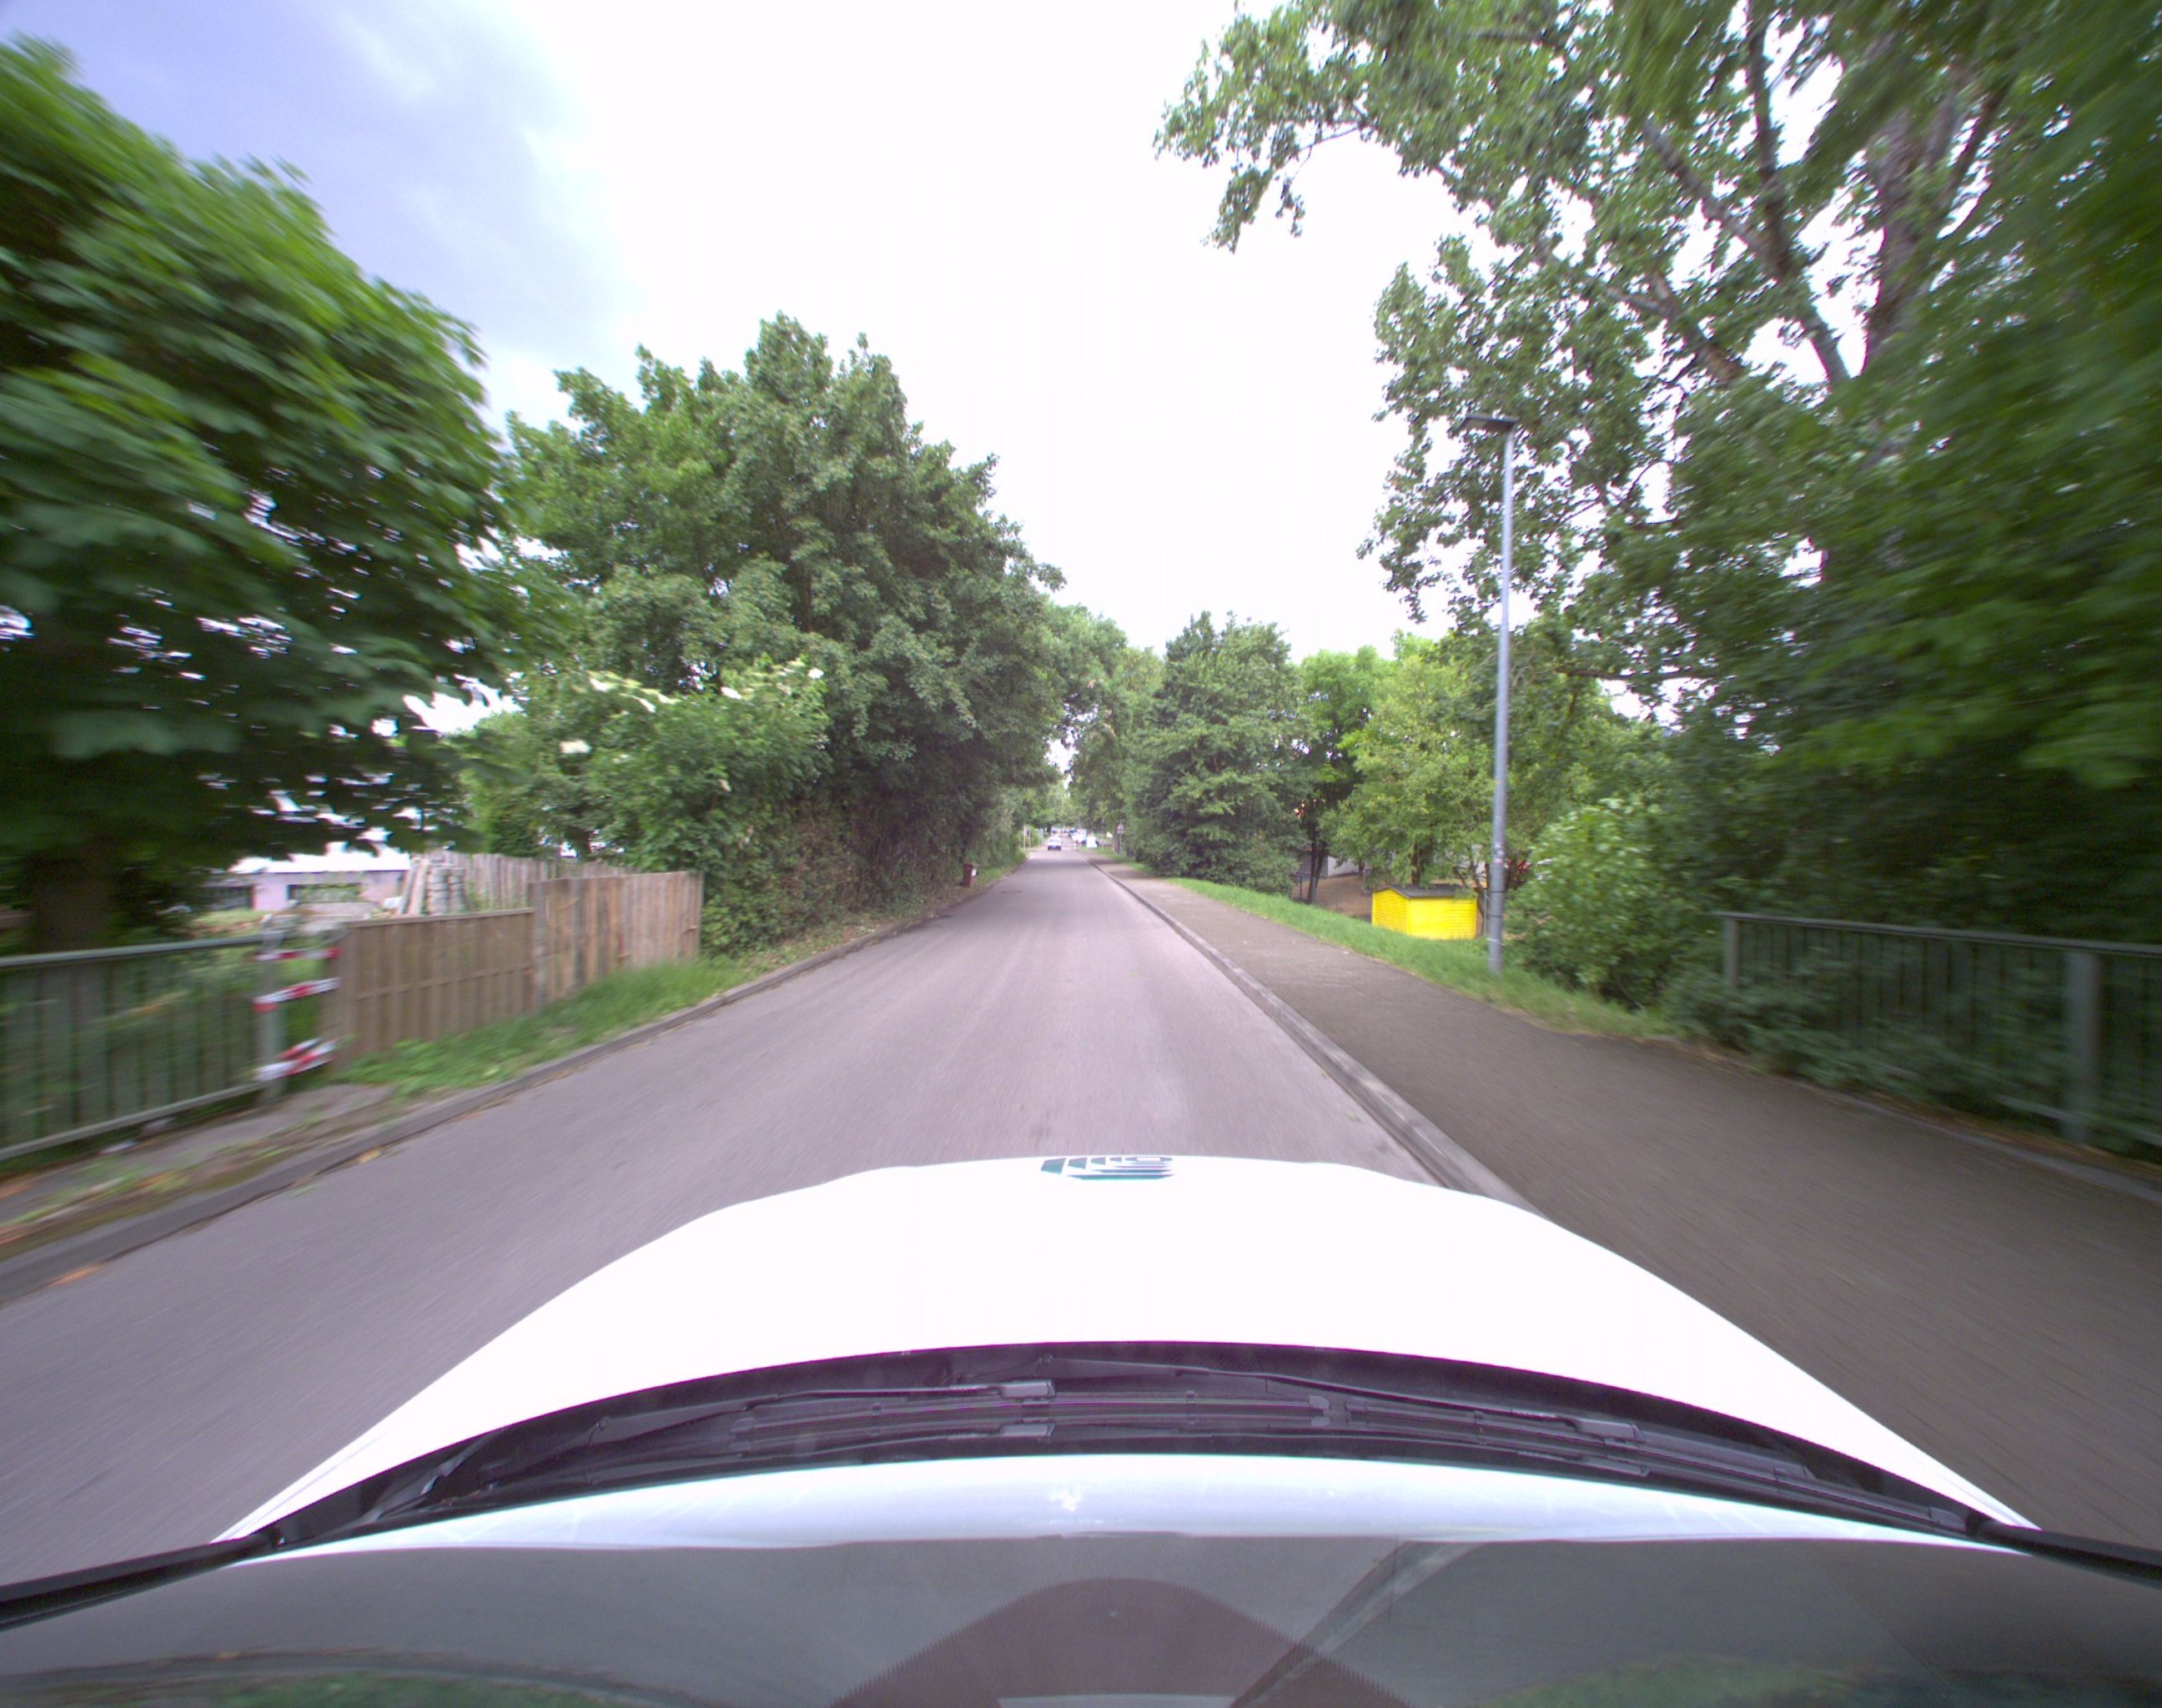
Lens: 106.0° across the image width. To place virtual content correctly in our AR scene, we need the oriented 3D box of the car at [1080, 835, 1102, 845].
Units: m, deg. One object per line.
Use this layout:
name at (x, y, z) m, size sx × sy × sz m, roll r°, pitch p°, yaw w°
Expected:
car at (1.865, -2.656, 153.353) m, size 3.975 × 1.772 × 1.999 m, roll 1°, pitch -1°, yaw -1°

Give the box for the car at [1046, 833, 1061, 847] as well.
car at (-3.776, -1.964, 112.716) m, size 1.987 × 1.772 × 3.999 m, roll 1°, pitch 0°, yaw 0°

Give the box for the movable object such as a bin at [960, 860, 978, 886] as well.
movable object such as a bin at (-4.199, 0.709, 30.442) m, size 0.588 × 0.957 × 0.470 m, roll 1°, pitch -1°, yaw -1°
